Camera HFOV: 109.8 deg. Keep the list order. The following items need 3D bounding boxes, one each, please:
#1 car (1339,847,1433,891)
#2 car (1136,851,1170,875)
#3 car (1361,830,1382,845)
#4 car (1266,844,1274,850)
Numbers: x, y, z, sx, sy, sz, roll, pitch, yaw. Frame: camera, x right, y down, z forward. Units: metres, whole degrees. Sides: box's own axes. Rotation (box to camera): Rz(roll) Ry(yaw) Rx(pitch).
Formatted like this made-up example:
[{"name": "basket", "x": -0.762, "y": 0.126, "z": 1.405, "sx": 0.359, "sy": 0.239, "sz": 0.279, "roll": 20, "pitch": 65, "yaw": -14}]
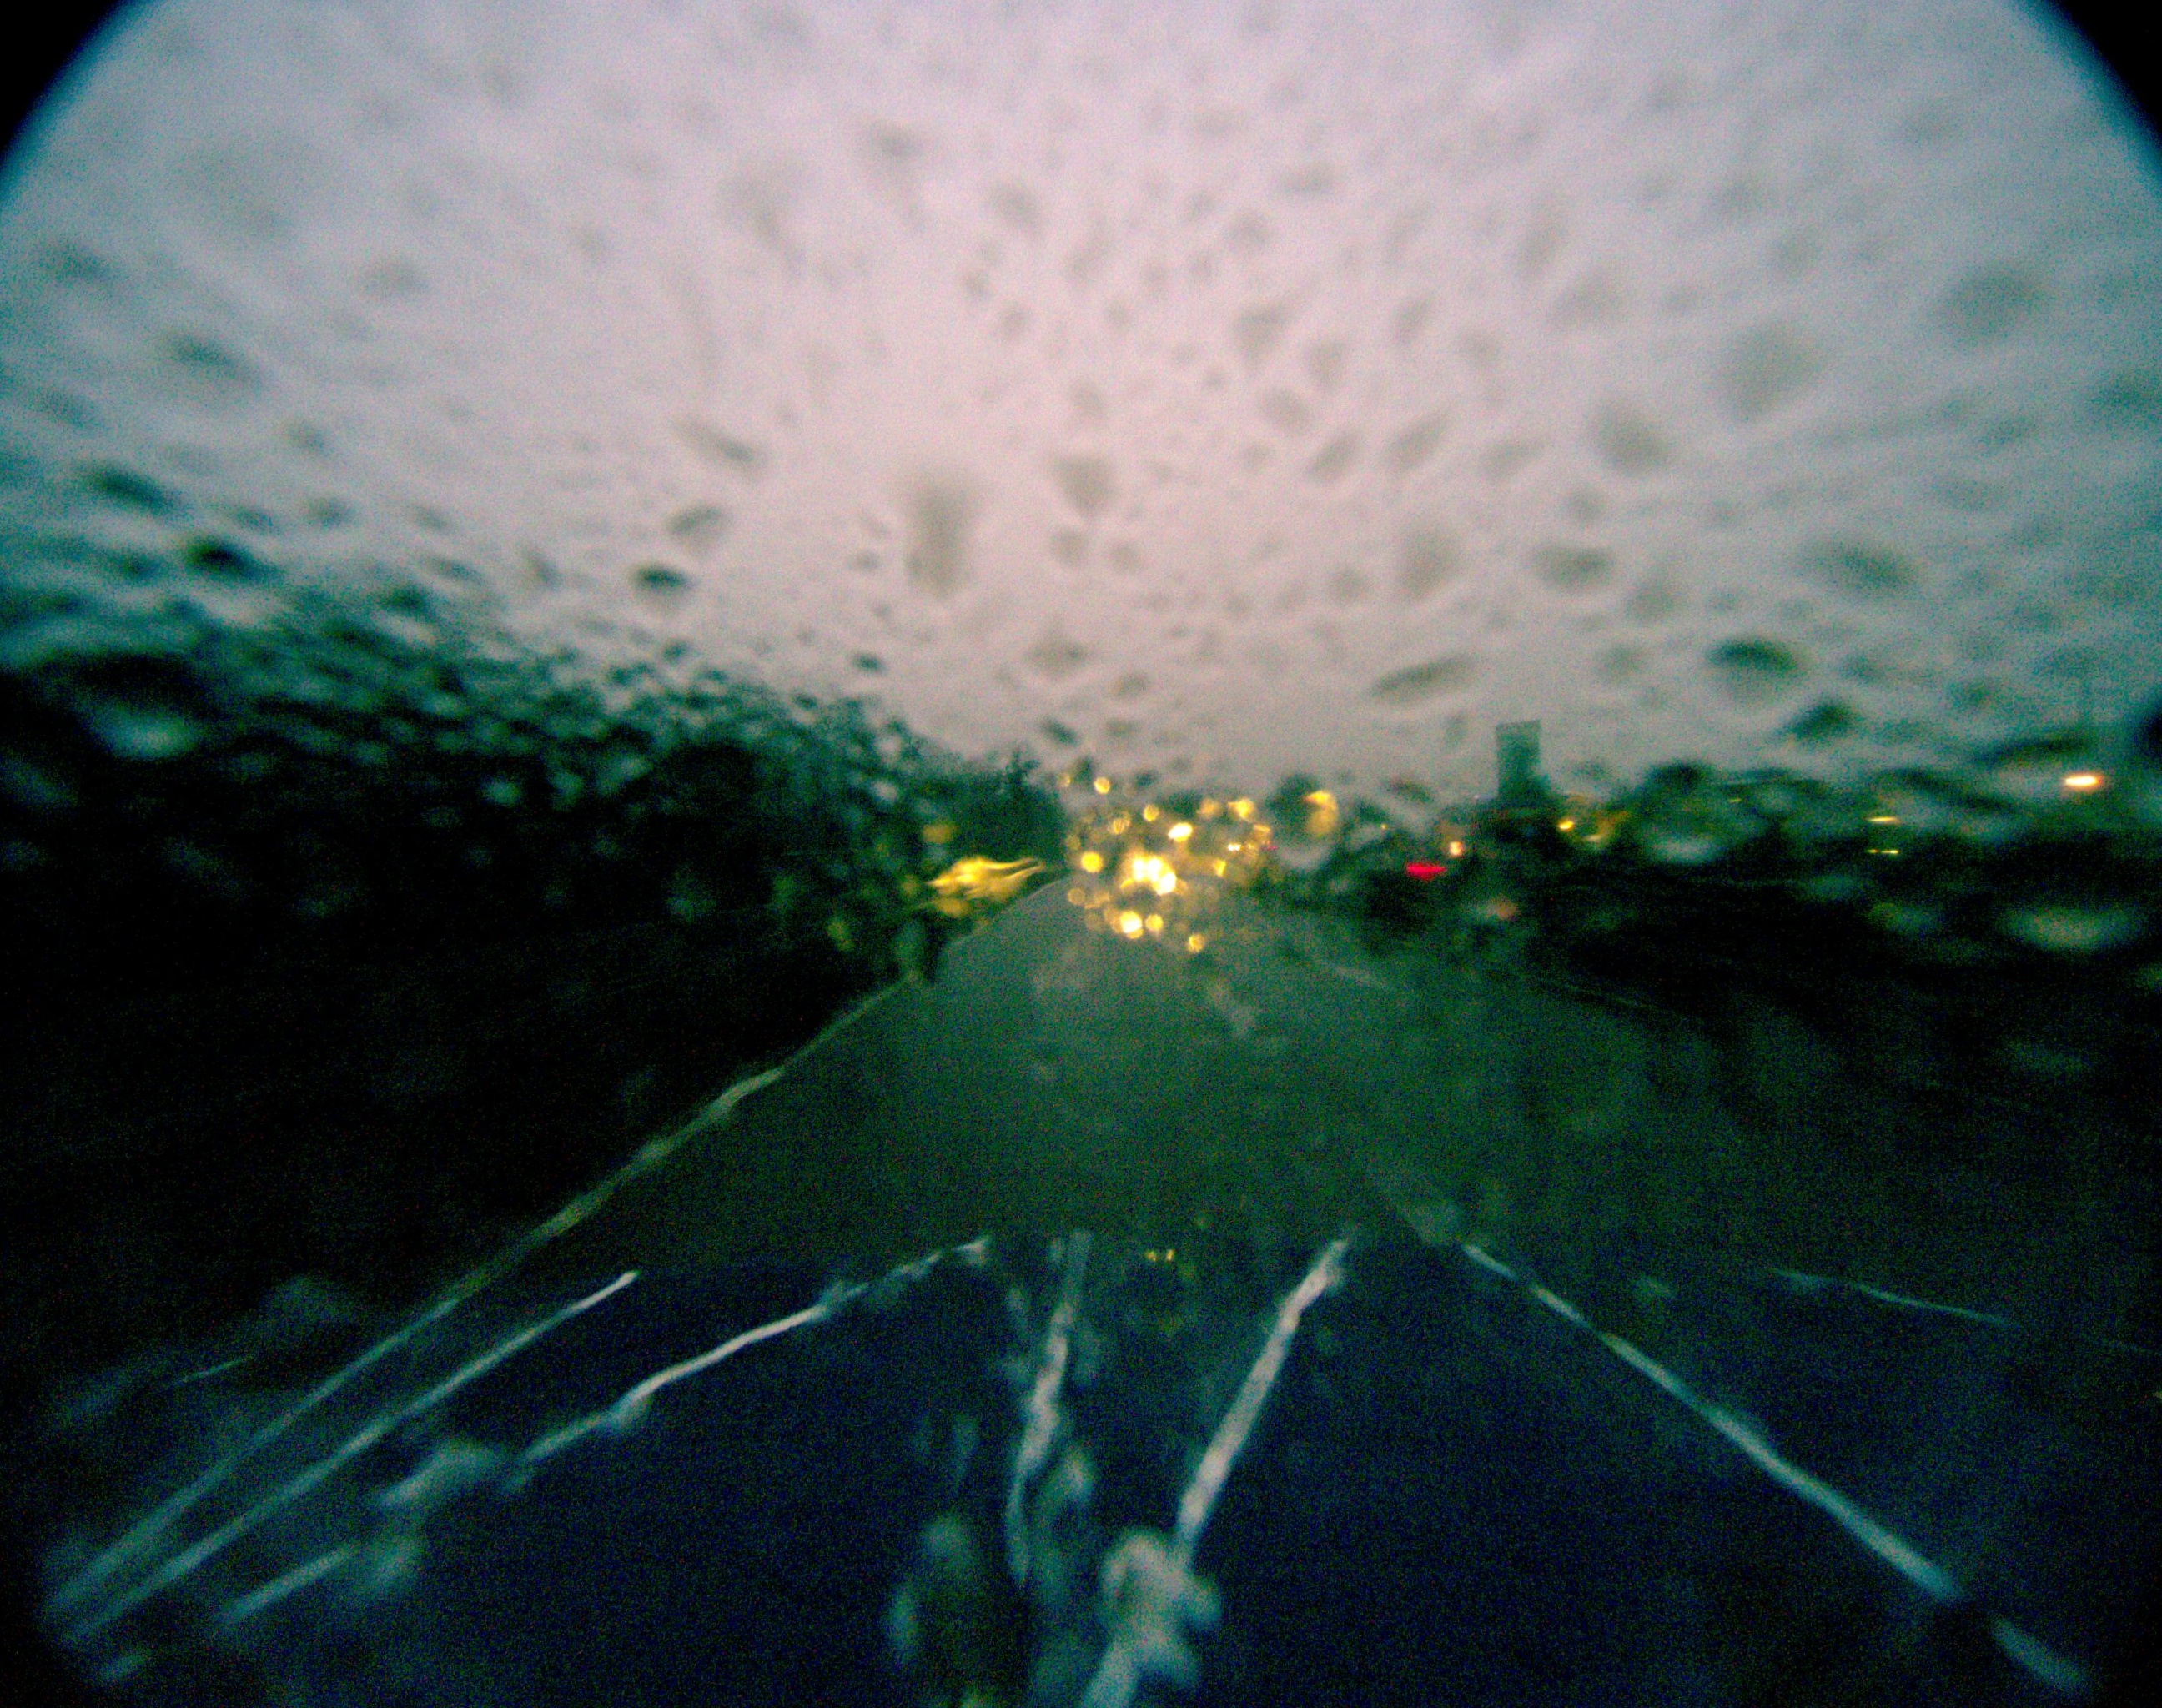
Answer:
[{"name": "car", "x": 10.461, "y": 0.528, "z": 26.426, "sx": 1.682, "sy": 1.397, "sz": 4.508, "roll": -1, "pitch": -1, "yaw": 3}, {"name": "car", "x": 6.964, "y": 0.826, "z": 73.029, "sx": 1.995, "sy": 2.002, "sz": 4.005, "roll": -3, "pitch": 1, "yaw": 23}, {"name": "car", "x": 60.506, "y": -3.465, "z": 158.196, "sx": 3.194, "sy": 3.192, "sz": 9.955, "roll": 1, "pitch": 2, "yaw": 26}, {"name": "car", "x": 46.573, "y": -1.828, "z": 187.347, "sx": 1.673, "sy": 1.412, "sz": 4.086, "roll": 0, "pitch": 1, "yaw": 19}]
